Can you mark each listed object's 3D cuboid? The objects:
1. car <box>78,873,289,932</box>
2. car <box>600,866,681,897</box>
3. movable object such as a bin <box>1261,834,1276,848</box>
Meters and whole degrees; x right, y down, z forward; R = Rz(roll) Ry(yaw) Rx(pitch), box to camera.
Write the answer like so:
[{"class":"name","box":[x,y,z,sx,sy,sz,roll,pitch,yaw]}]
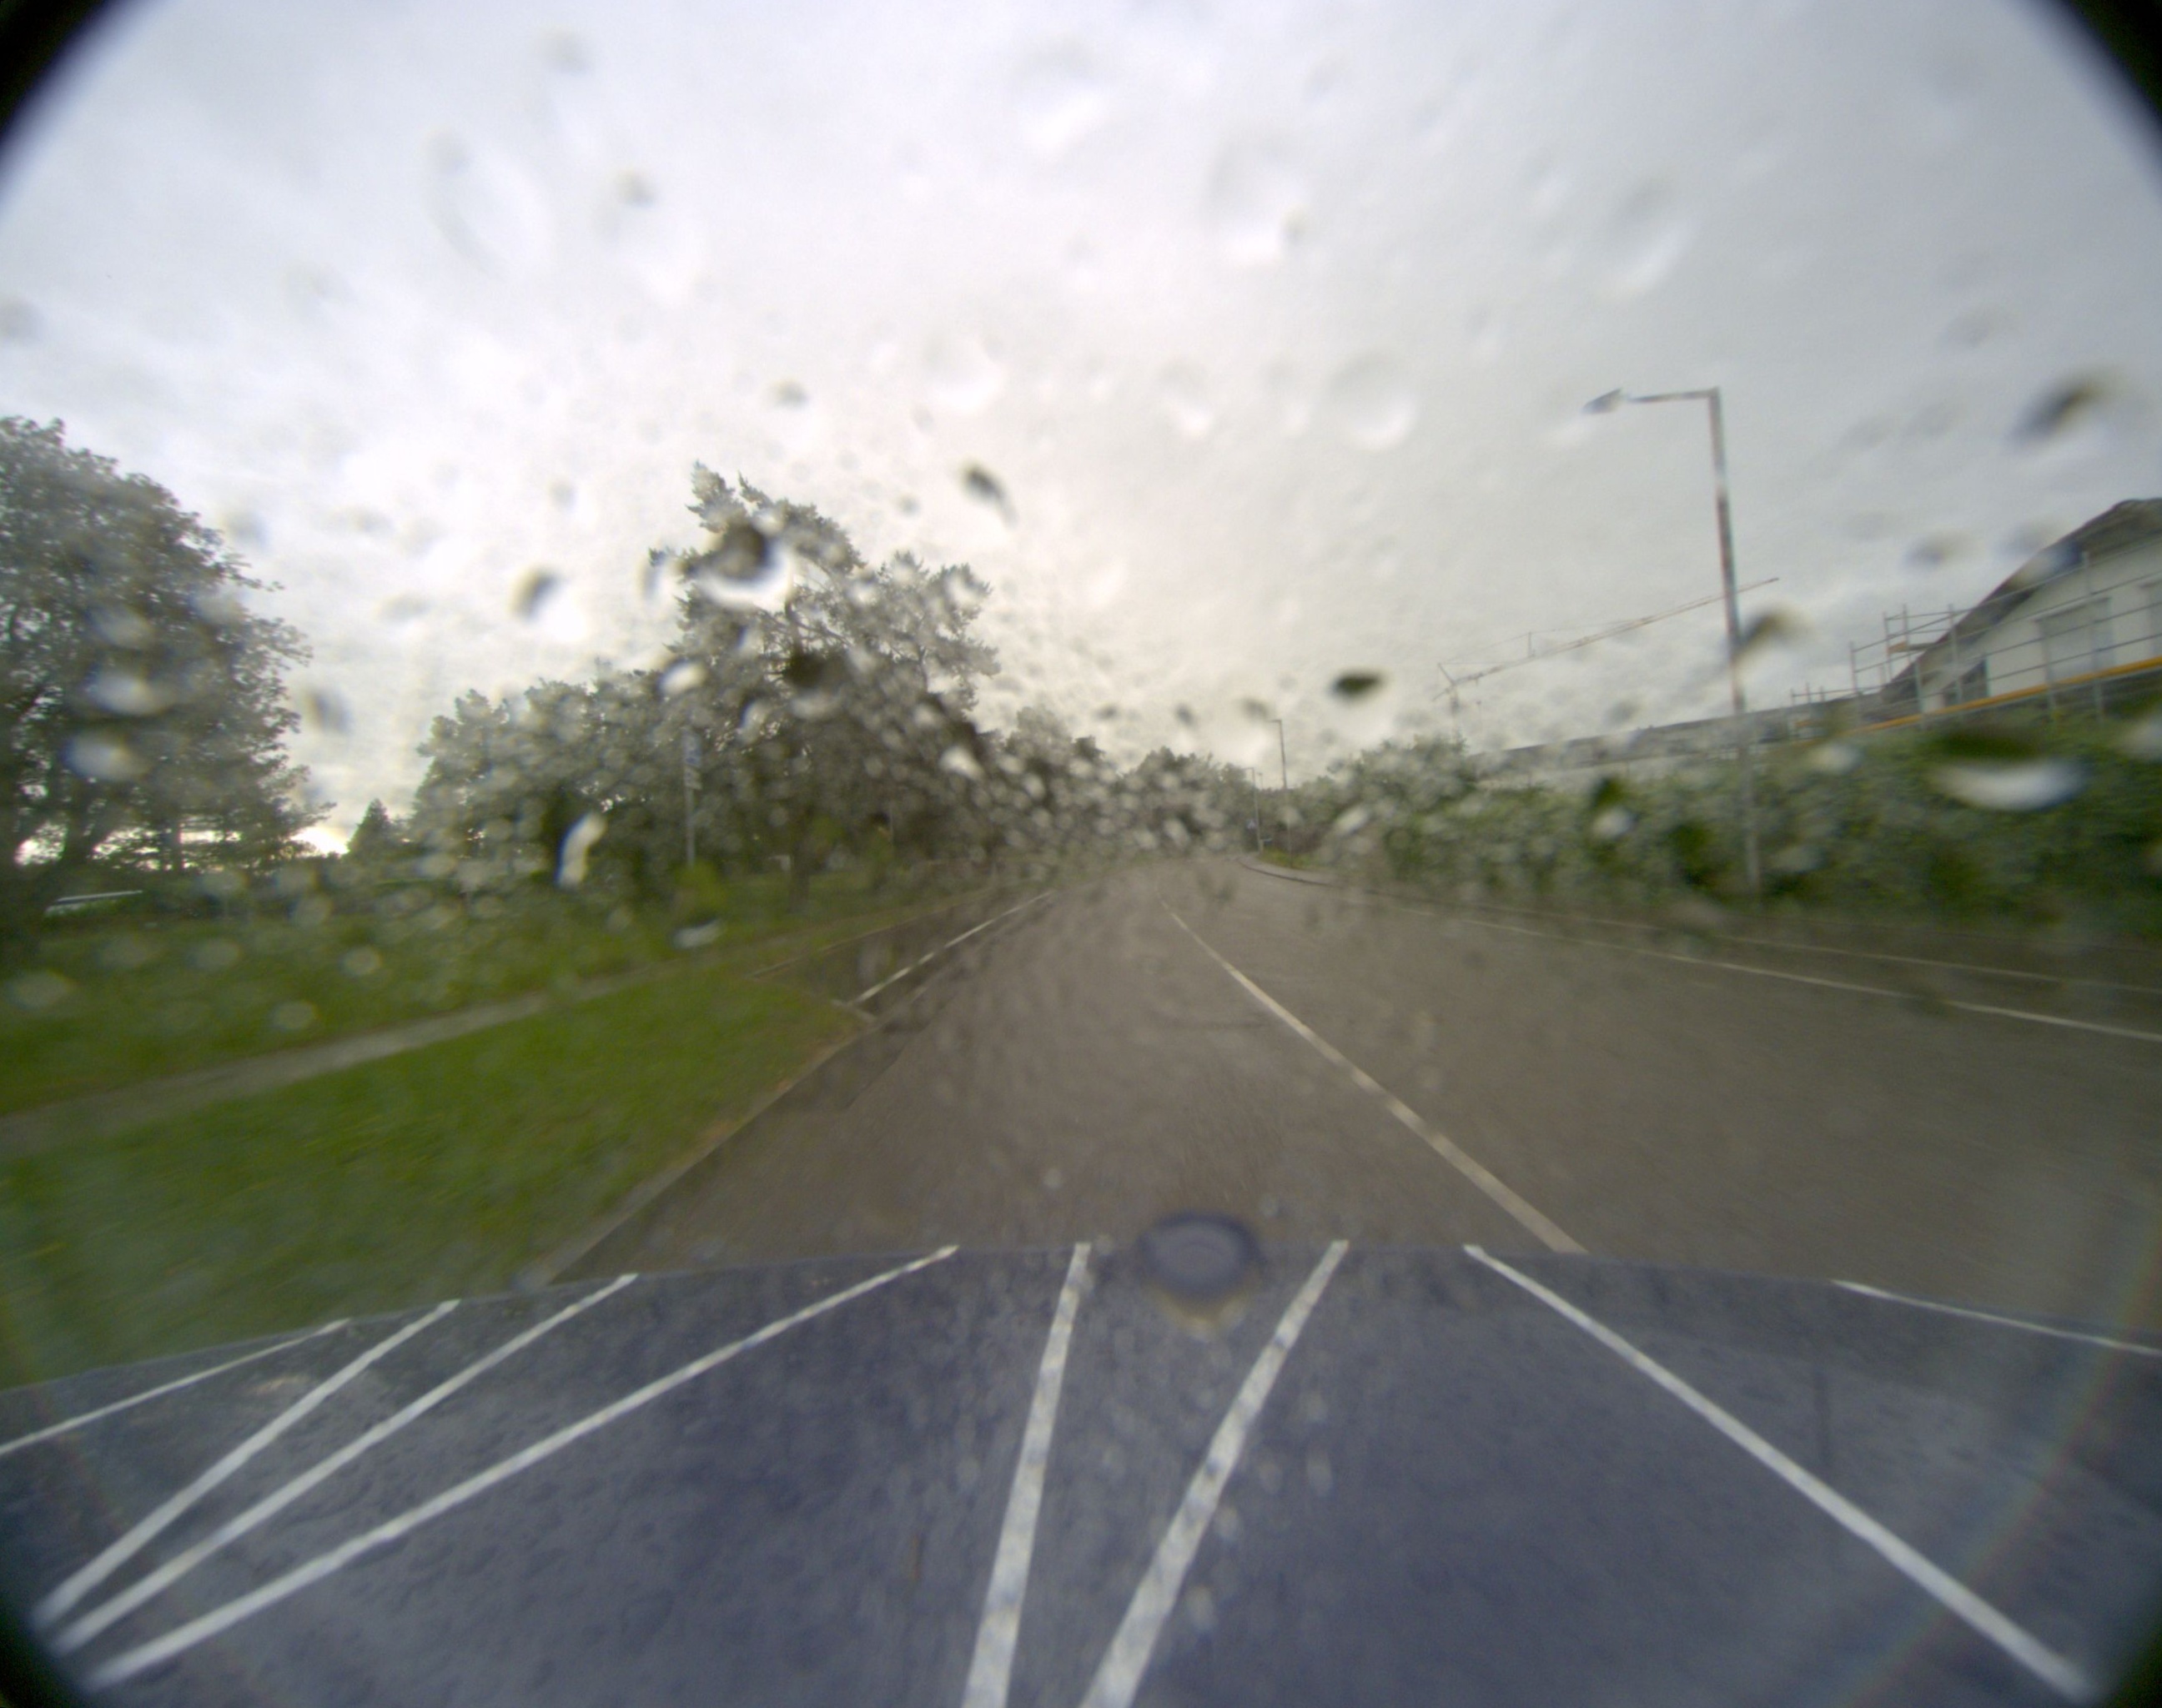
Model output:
[{"class":"car","box":[-43.700,2.341,37.180,6.685,2.482,2.613,-2,-2,-6]},{"class":"car","box":[-26.835,1.669,46.423,1.828,1.643,4.005,-3,0,17]},{"class":"movable object such as a bin","box":[18.907,-1.299,76.699,1.133,1.314,1.364,-7,-1,20]}]
